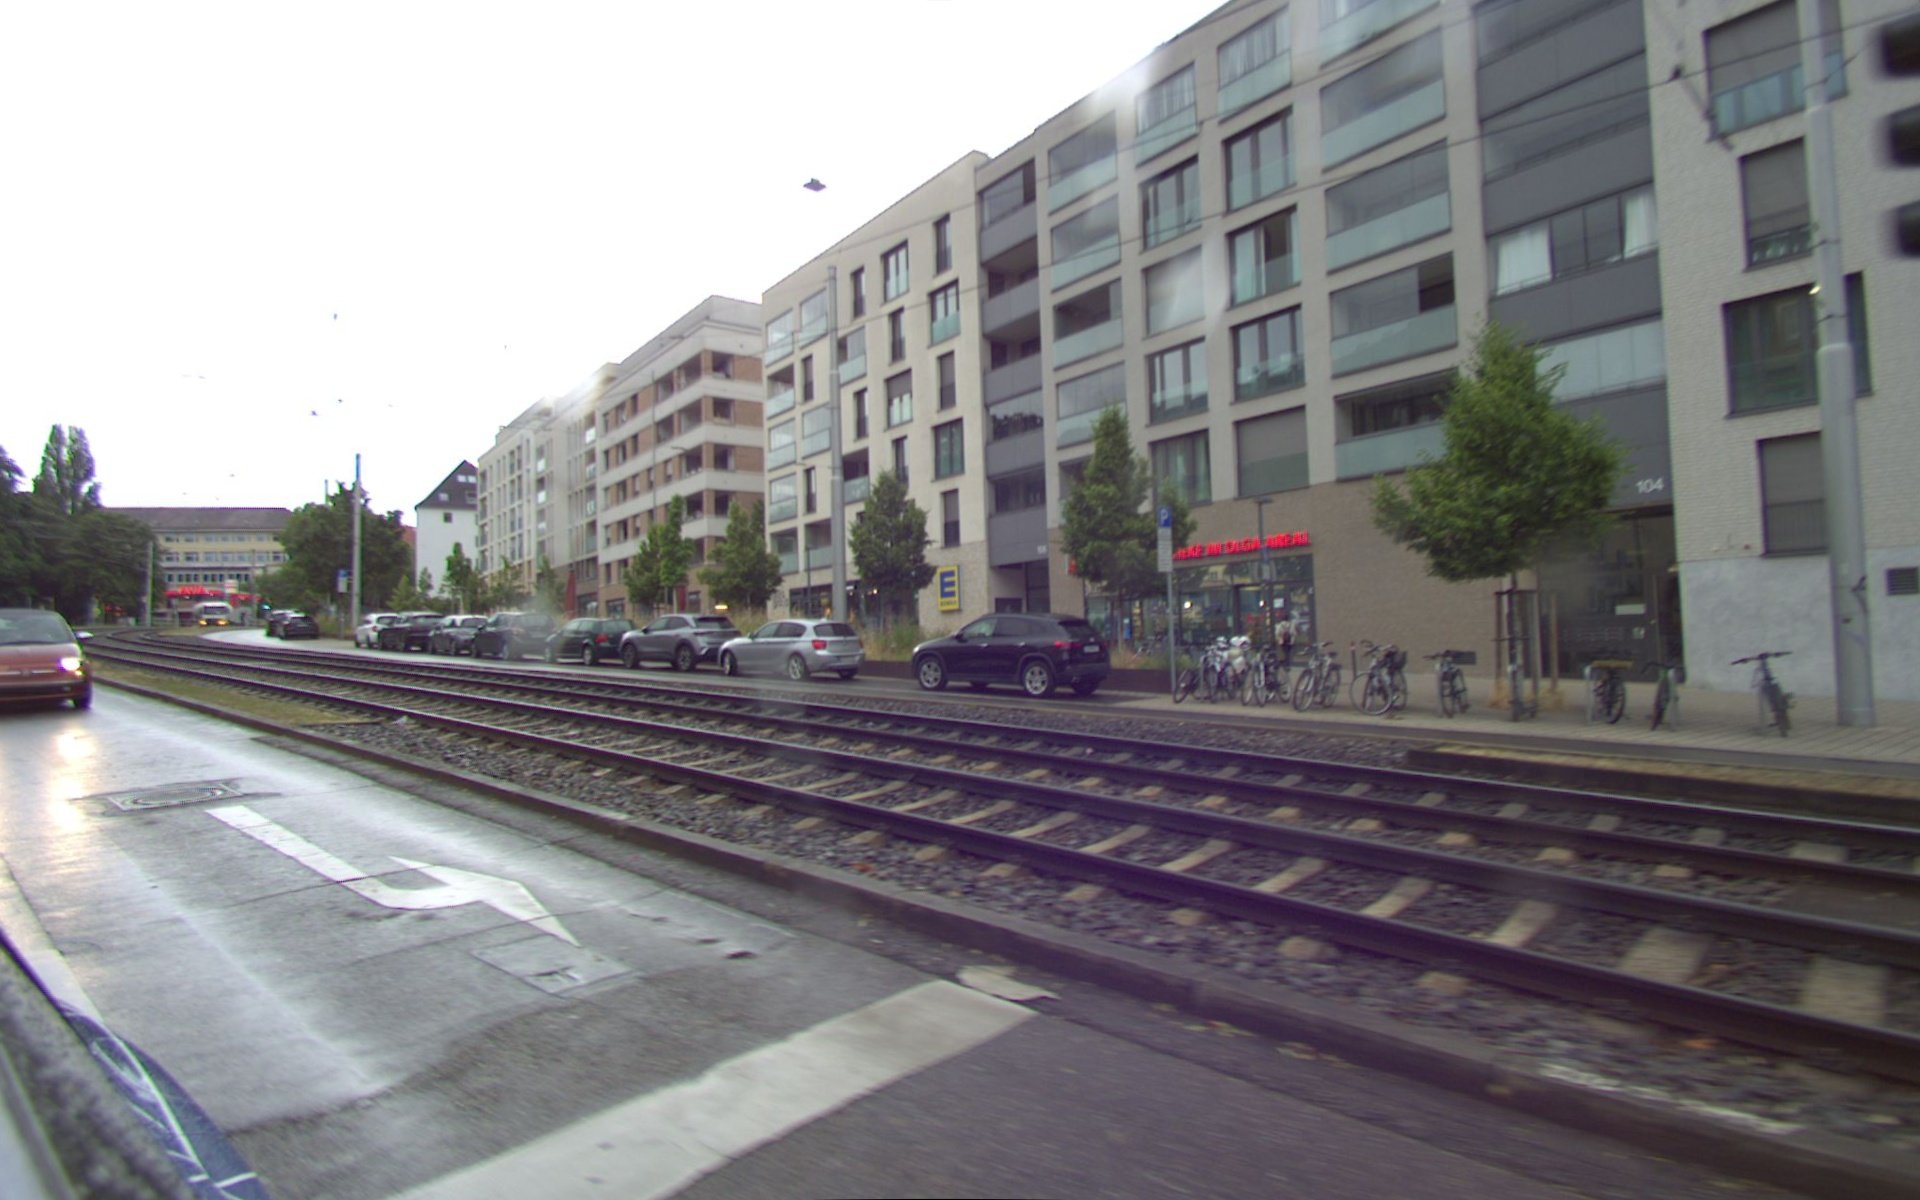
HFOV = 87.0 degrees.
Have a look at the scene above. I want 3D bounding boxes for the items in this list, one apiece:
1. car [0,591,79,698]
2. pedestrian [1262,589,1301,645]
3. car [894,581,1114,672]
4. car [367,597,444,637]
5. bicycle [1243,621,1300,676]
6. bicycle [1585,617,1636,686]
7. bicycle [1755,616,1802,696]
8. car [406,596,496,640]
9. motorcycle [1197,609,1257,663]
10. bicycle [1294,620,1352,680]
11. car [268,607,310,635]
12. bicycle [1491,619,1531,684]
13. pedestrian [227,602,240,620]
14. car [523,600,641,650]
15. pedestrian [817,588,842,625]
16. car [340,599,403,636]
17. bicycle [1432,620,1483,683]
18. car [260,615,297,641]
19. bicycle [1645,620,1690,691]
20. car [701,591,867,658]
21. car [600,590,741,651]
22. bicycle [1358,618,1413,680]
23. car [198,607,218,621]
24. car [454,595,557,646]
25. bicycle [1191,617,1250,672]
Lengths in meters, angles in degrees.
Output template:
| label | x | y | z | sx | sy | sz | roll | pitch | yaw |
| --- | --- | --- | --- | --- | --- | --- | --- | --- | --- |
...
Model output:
| label | x | y | z | sx | sy | sz | roll | pitch | yaw |
| --- | --- | --- | --- | --- | --- | --- | --- | --- | --- |
| car | -14.901 | 0.657 | 15.517 | 3.668 | 1.475 | 1.573 | -1 | 2 | 41 |
| pedestrian | 8.721 | 0.445 | 27.438 | 0.532 | 1.460 | 0.805 | -3 | 2 | -36 |
| car | 0.795 | 0.480 | 20.316 | 4.328 | 1.616 | 1.662 | -1 | 1 | 41 |
| car | -22.580 | 0.667 | 41.171 | 1.660 | 1.516 | 4.409 | -2 | 1 | -43 |
| bicycle | 5.600 | 0.848 | 18.137 | 0.387 | 0.924 | 1.766 | -1 | -2 | 37 |
| bicycle | 9.945 | 0.765 | 15.510 | 0.385 | 0.924 | 1.774 | -1 | 1 | 25 |
| bicycle | 11.095 | 0.728 | 13.745 | 0.440 | 0.988 | 1.767 | -1 | 0 | 37 |
| car | -19.160 | 0.649 | 38.015 | 3.927 | 1.516 | 1.662 | -1 | 1 | 41 |
| motorcycle | 5.537 | 0.724 | 20.928 | 0.542 | 1.050 | 1.741 | 1 | 0 | 38 |
| bicycle | 6.108 | 0.815 | 16.990 | 0.387 | 0.924 | 1.767 | -1 | 0 | 37 |
| car | -38.998 | 1.183 | 58.795 | 1.630 | 1.475 | 3.677 | -3 | 2 | -39 |
| bicycle | 8.618 | 0.774 | 15.804 | 0.386 | 0.924 | 1.769 | -1 | 0 | 33 |
| pedestrian | -76.449 | 1.154 | 106.495 | 0.805 | 1.777 | 0.750 | 1 | -2 | -9 |
| car | -11.615 | 0.725 | 30.973 | 4.031 | 1.391 | 1.662 | -1 | 1 | 41 |
| pedestrian | -5.366 | 0.265 | 41.648 | 0.647 | 1.460 | 0.805 | -3 | 2 | -36 |
| car | -26.111 | 0.751 | 44.880 | 1.626 | 1.516 | 3.785 | -2 | 1 | -42 |
| bicycle | 8.001 | 0.801 | 16.254 | 0.387 | 0.924 | 1.767 | -1 | 0 | 37 |
| car | -44.164 | 1.787 | 65.568 | 1.630 | 1.475 | 3.677 | -3 | 2 | -39 |
| bicycle | 10.233 | 0.774 | 14.616 | 0.387 | 0.883 | 1.766 | -1 | 1 | 40 |
| car | -4.379 | 0.566 | 24.788 | 4.328 | 1.475 | 1.662 | -1 | 1 | 41 |
| car | -8.041 | 0.546 | 27.996 | 4.043 | 1.541 | 1.664 | -1 | 1 | 37 |
| bicycle | 7.043 | 0.788 | 16.715 | 0.387 | 0.924 | 1.767 | -1 | 0 | 37 |
| car | -91.051 | 1.693 | 122.548 | 1.641 | 1.619 | 3.819 | -3 | 2 | -33 |
| car | -15.404 | 0.668 | 34.214 | 3.927 | 1.575 | 1.662 | -1 | 1 | 41 |
| bicycle | 4.847 | 0.803 | 18.782 | 0.387 | 0.924 | 1.767 | -1 | 0 | 37 |
